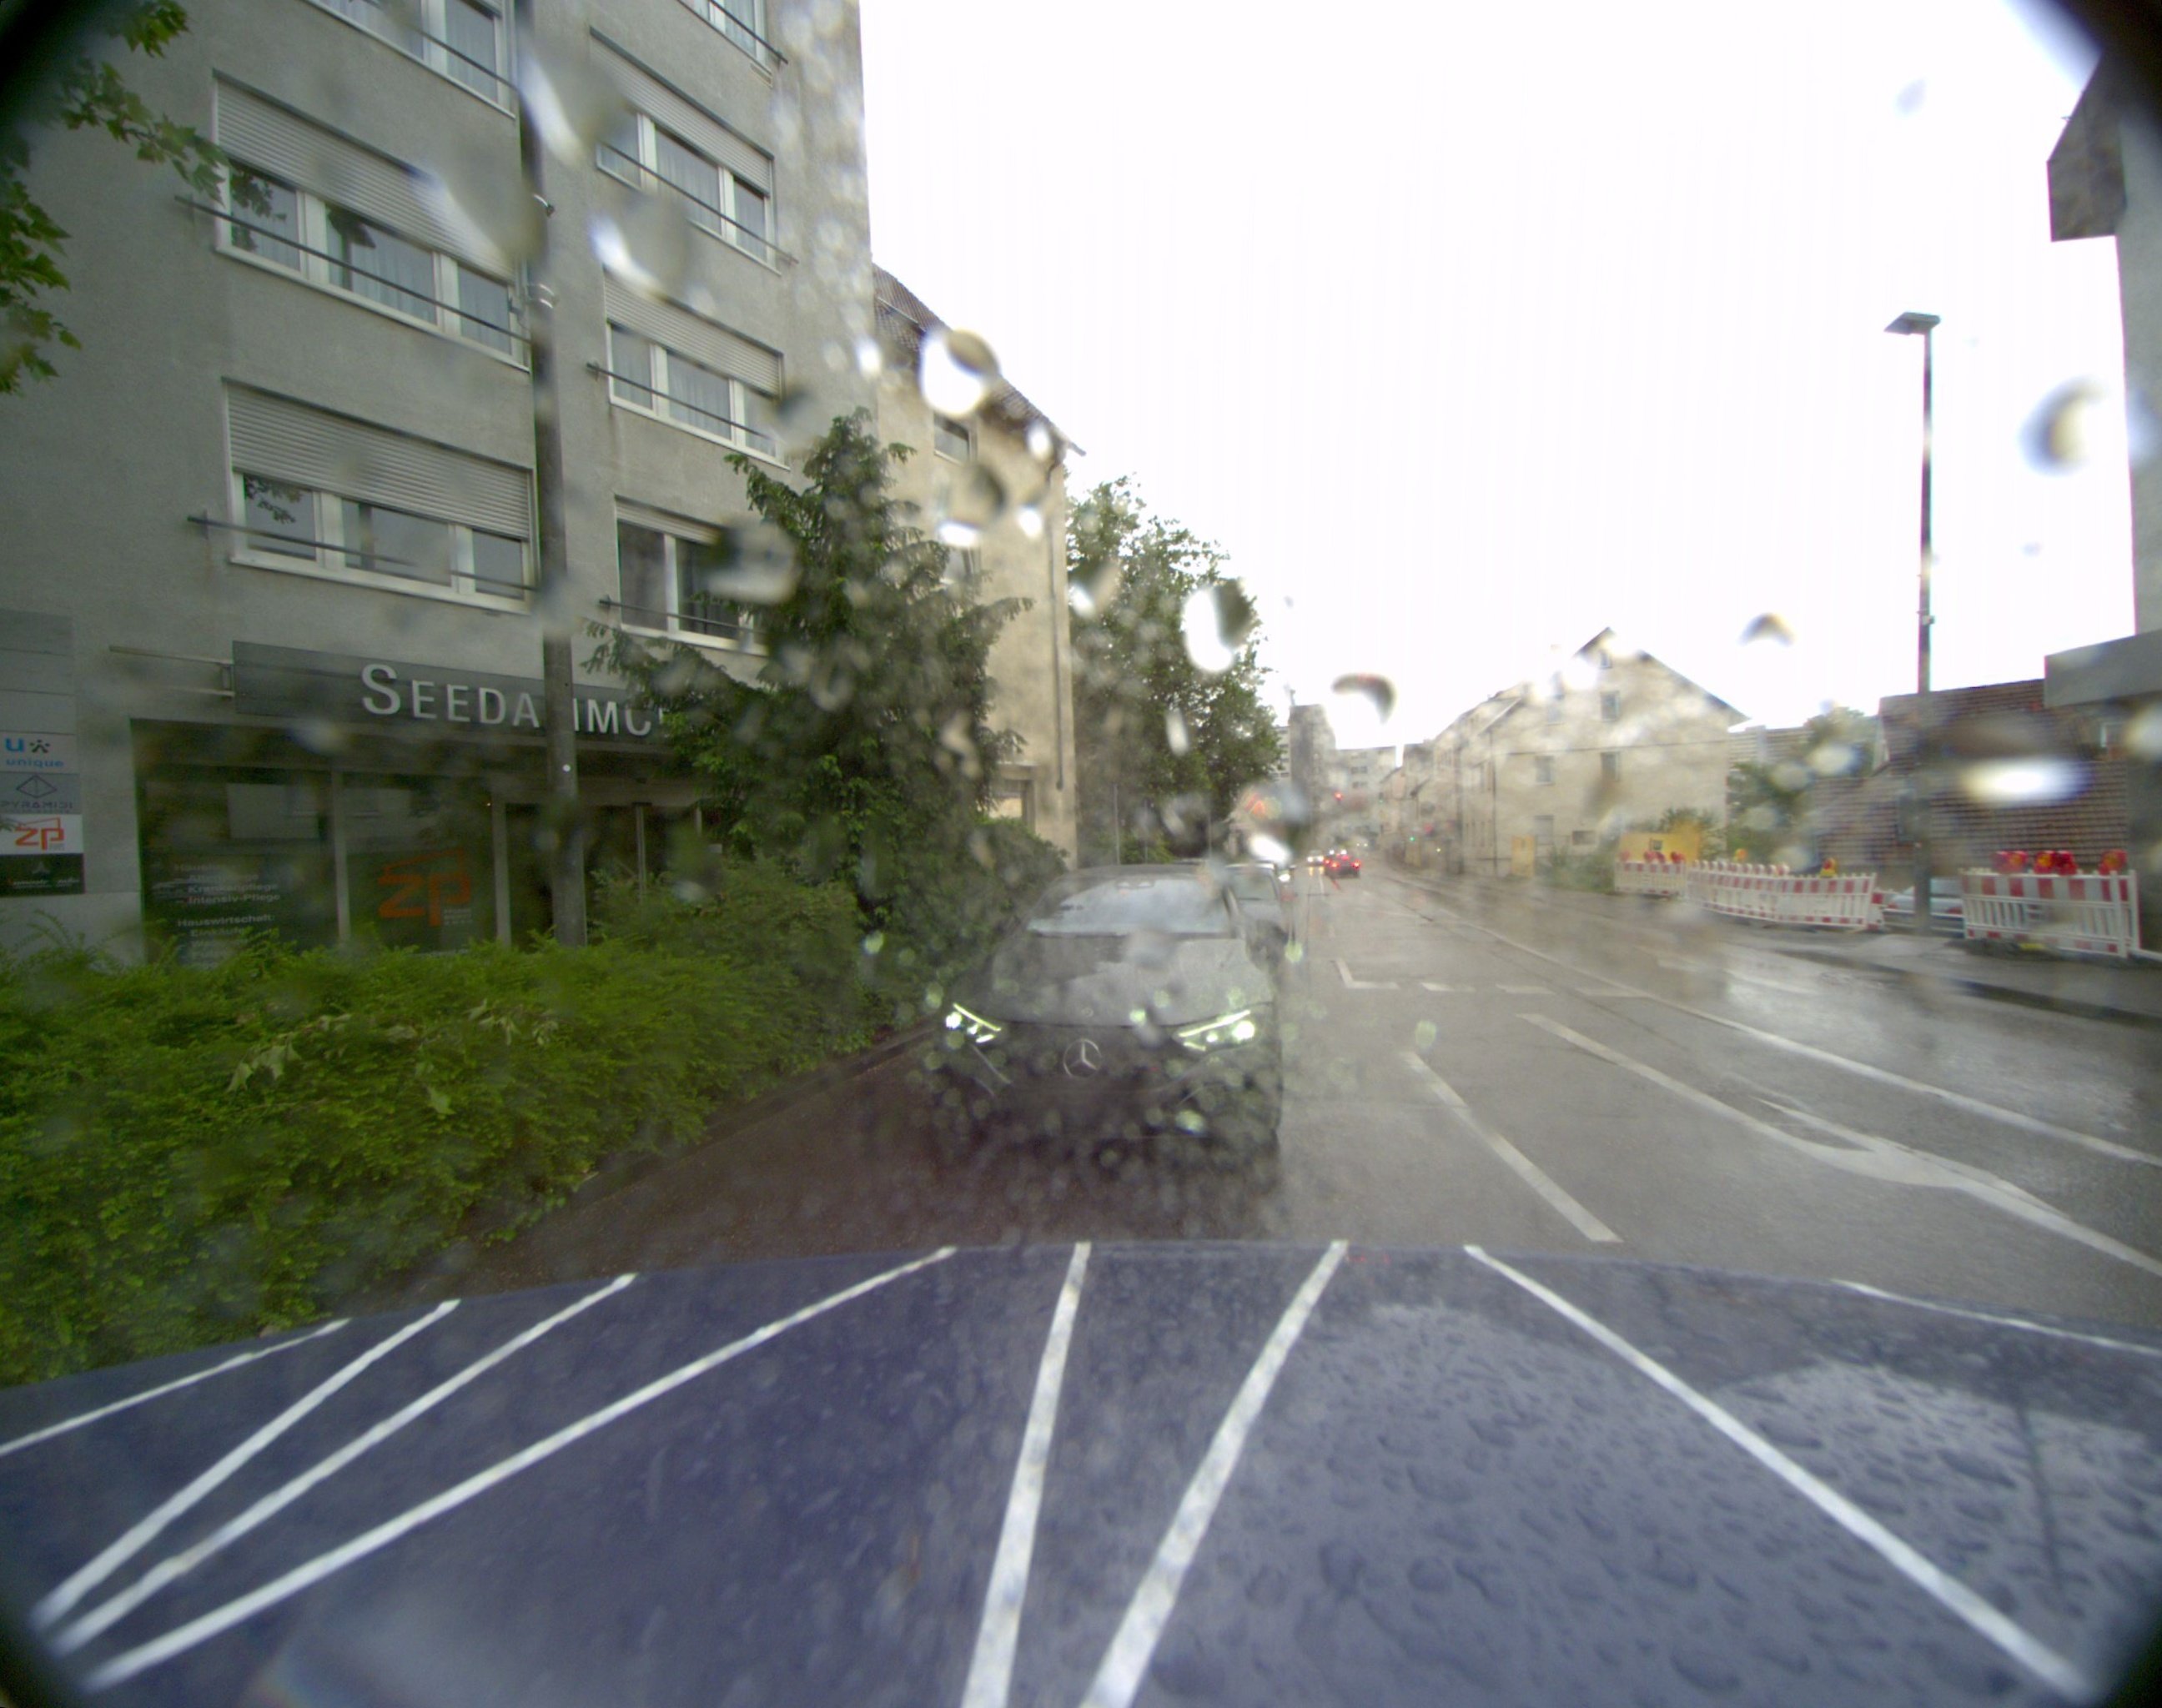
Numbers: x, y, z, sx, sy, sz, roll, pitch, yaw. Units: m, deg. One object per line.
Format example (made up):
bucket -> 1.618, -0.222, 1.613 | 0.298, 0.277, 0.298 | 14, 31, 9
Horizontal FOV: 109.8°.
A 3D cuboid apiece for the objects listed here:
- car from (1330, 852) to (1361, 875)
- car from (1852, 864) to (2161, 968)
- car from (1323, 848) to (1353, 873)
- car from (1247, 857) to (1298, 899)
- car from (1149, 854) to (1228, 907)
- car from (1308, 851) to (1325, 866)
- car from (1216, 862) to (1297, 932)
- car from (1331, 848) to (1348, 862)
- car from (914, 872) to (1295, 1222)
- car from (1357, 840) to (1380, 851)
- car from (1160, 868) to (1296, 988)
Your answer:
car -> 17.251, 0.616, 49.647 | 1.709, 1.375, 3.674 | -2, 0, 16
car -> 16.393, 1.049, 13.445 | 3.505, 1.382, 1.653 | 6, -1, 8
car -> 18.856, 0.473, 55.928 | 1.818, 1.635, 4.281 | -2, -1, 16
car -> 7.610, 0.892, 29.912 | 1.684, 1.452, 4.005 | -2, 0, 17
car -> 4.048, 0.897, 27.811 | 1.933, 1.770, 4.740 | -1, 0, 20
car -> 25.172, 0.476, 81.103 | 1.613, 1.495, 3.722 | -3, 0, 17
car -> 4.326, 0.970, 18.585 | 1.685, 1.413, 4.004 | -2, 0, 14
car -> 34.587, 0.141, 101.658 | 1.790, 1.841, 3.841 | -2, 0, 22
car -> 0.497, 0.986, 5.810 | 1.819, 1.562, 4.280 | -3, -1, 11
car -> 45.399, -1.315, 119.986 | 3.843, 1.555, 1.789 | -2, 0, -45
car -> 2.392, 0.976, 11.609 | 1.639, 1.424, 3.810 | -1, 0, 17
